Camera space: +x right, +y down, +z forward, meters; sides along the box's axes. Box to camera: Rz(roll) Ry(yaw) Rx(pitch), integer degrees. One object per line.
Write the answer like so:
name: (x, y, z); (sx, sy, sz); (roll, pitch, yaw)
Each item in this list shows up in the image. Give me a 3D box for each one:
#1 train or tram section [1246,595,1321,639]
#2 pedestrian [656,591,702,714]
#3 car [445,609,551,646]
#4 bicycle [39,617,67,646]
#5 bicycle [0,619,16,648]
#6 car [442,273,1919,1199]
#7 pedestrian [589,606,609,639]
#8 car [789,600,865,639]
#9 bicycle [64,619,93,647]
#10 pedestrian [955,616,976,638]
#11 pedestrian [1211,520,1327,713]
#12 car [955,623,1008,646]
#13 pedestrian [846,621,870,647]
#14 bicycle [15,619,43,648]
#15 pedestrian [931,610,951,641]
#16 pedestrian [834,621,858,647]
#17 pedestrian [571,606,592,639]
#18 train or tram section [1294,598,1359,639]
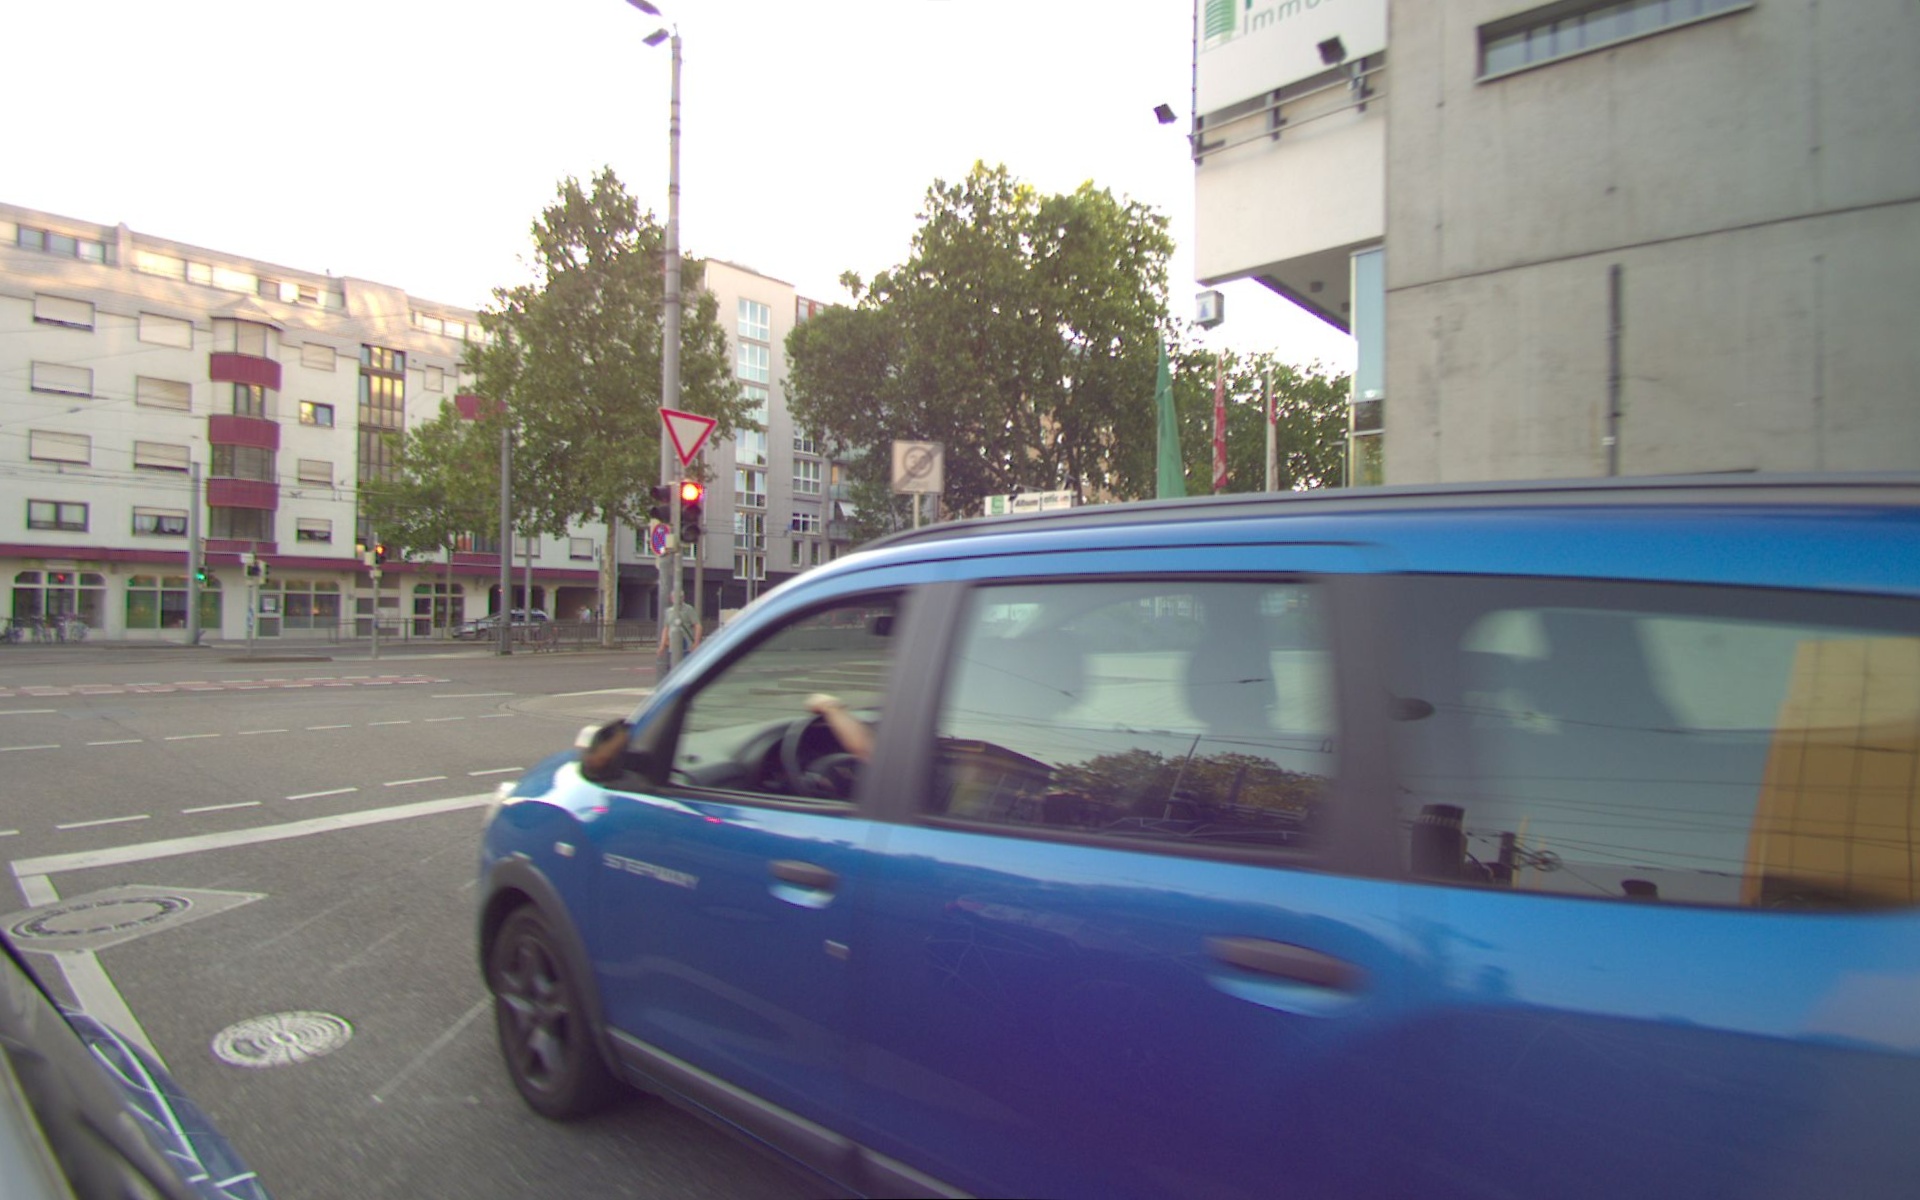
train or tram section: (26.490, 1.452, 82.420); (2.335, 3.414, 10.398); (-1, -2, 38)
pedestrian: (-4.026, 0.736, 14.484); (0.537, 1.714, 0.710); (1, -2, -21)
car: (-21.073, 1.274, 46.259); (1.665, 1.608, 4.045); (-1, -2, 42)
bicycle: (-34.495, 1.186, 38.488); (1.901, 1.054, 0.508); (-1, -2, 40)
bicycle: (-35.392, 1.219, 37.380); (1.901, 1.054, 0.508); (-1, -2, 40)
car: (0.525, 0.573, 2.366); (4.273, 1.691, 1.729); (-1, -1, 43)
pedestrian: (-20.366, 1.262, 57.057); (0.692, 1.820, 0.824); (-1, -2, 43)
car: (-8.829, 1.317, 67.602); (1.851, 2.560, 5.010); (-1, -2, 43)
bicycle: (-33.861, 1.257, 38.855); (1.901, 1.054, 0.508); (-1, -2, 40)
pedestrian: (0.347, 1.769, 66.689); (0.937, 1.464, 0.984); (-1, -2, 41)
pedestrian: (3.229, 0.147, 10.630); (0.688, 1.896, 0.881); (-5, 4, -21)
car: (1.621, 2.572, 75.367); (1.665, 1.608, 4.045); (-1, -2, 42)
pedestrian: (-5.945, 1.985, 59.071); (0.937, 1.464, 0.984); (-1, -2, 41)
bicycle: (-34.960, 1.248, 37.995); (1.901, 1.054, 0.508); (-1, -2, 40)
pedestrian: (-1.207, 1.642, 64.252); (0.937, 1.938, 0.798); (-1, -2, 41)
pedestrian: (-6.573, 1.960, 58.348); (0.937, 1.464, 0.984); (-1, -2, 41)
pedestrian: (-20.878, 1.243, 55.864); (0.692, 1.820, 0.824); (-1, -2, 43)
train or tram section: (32.925, 1.710, 90.565); (2.335, 3.414, 10.398); (-1, -2, 38)
